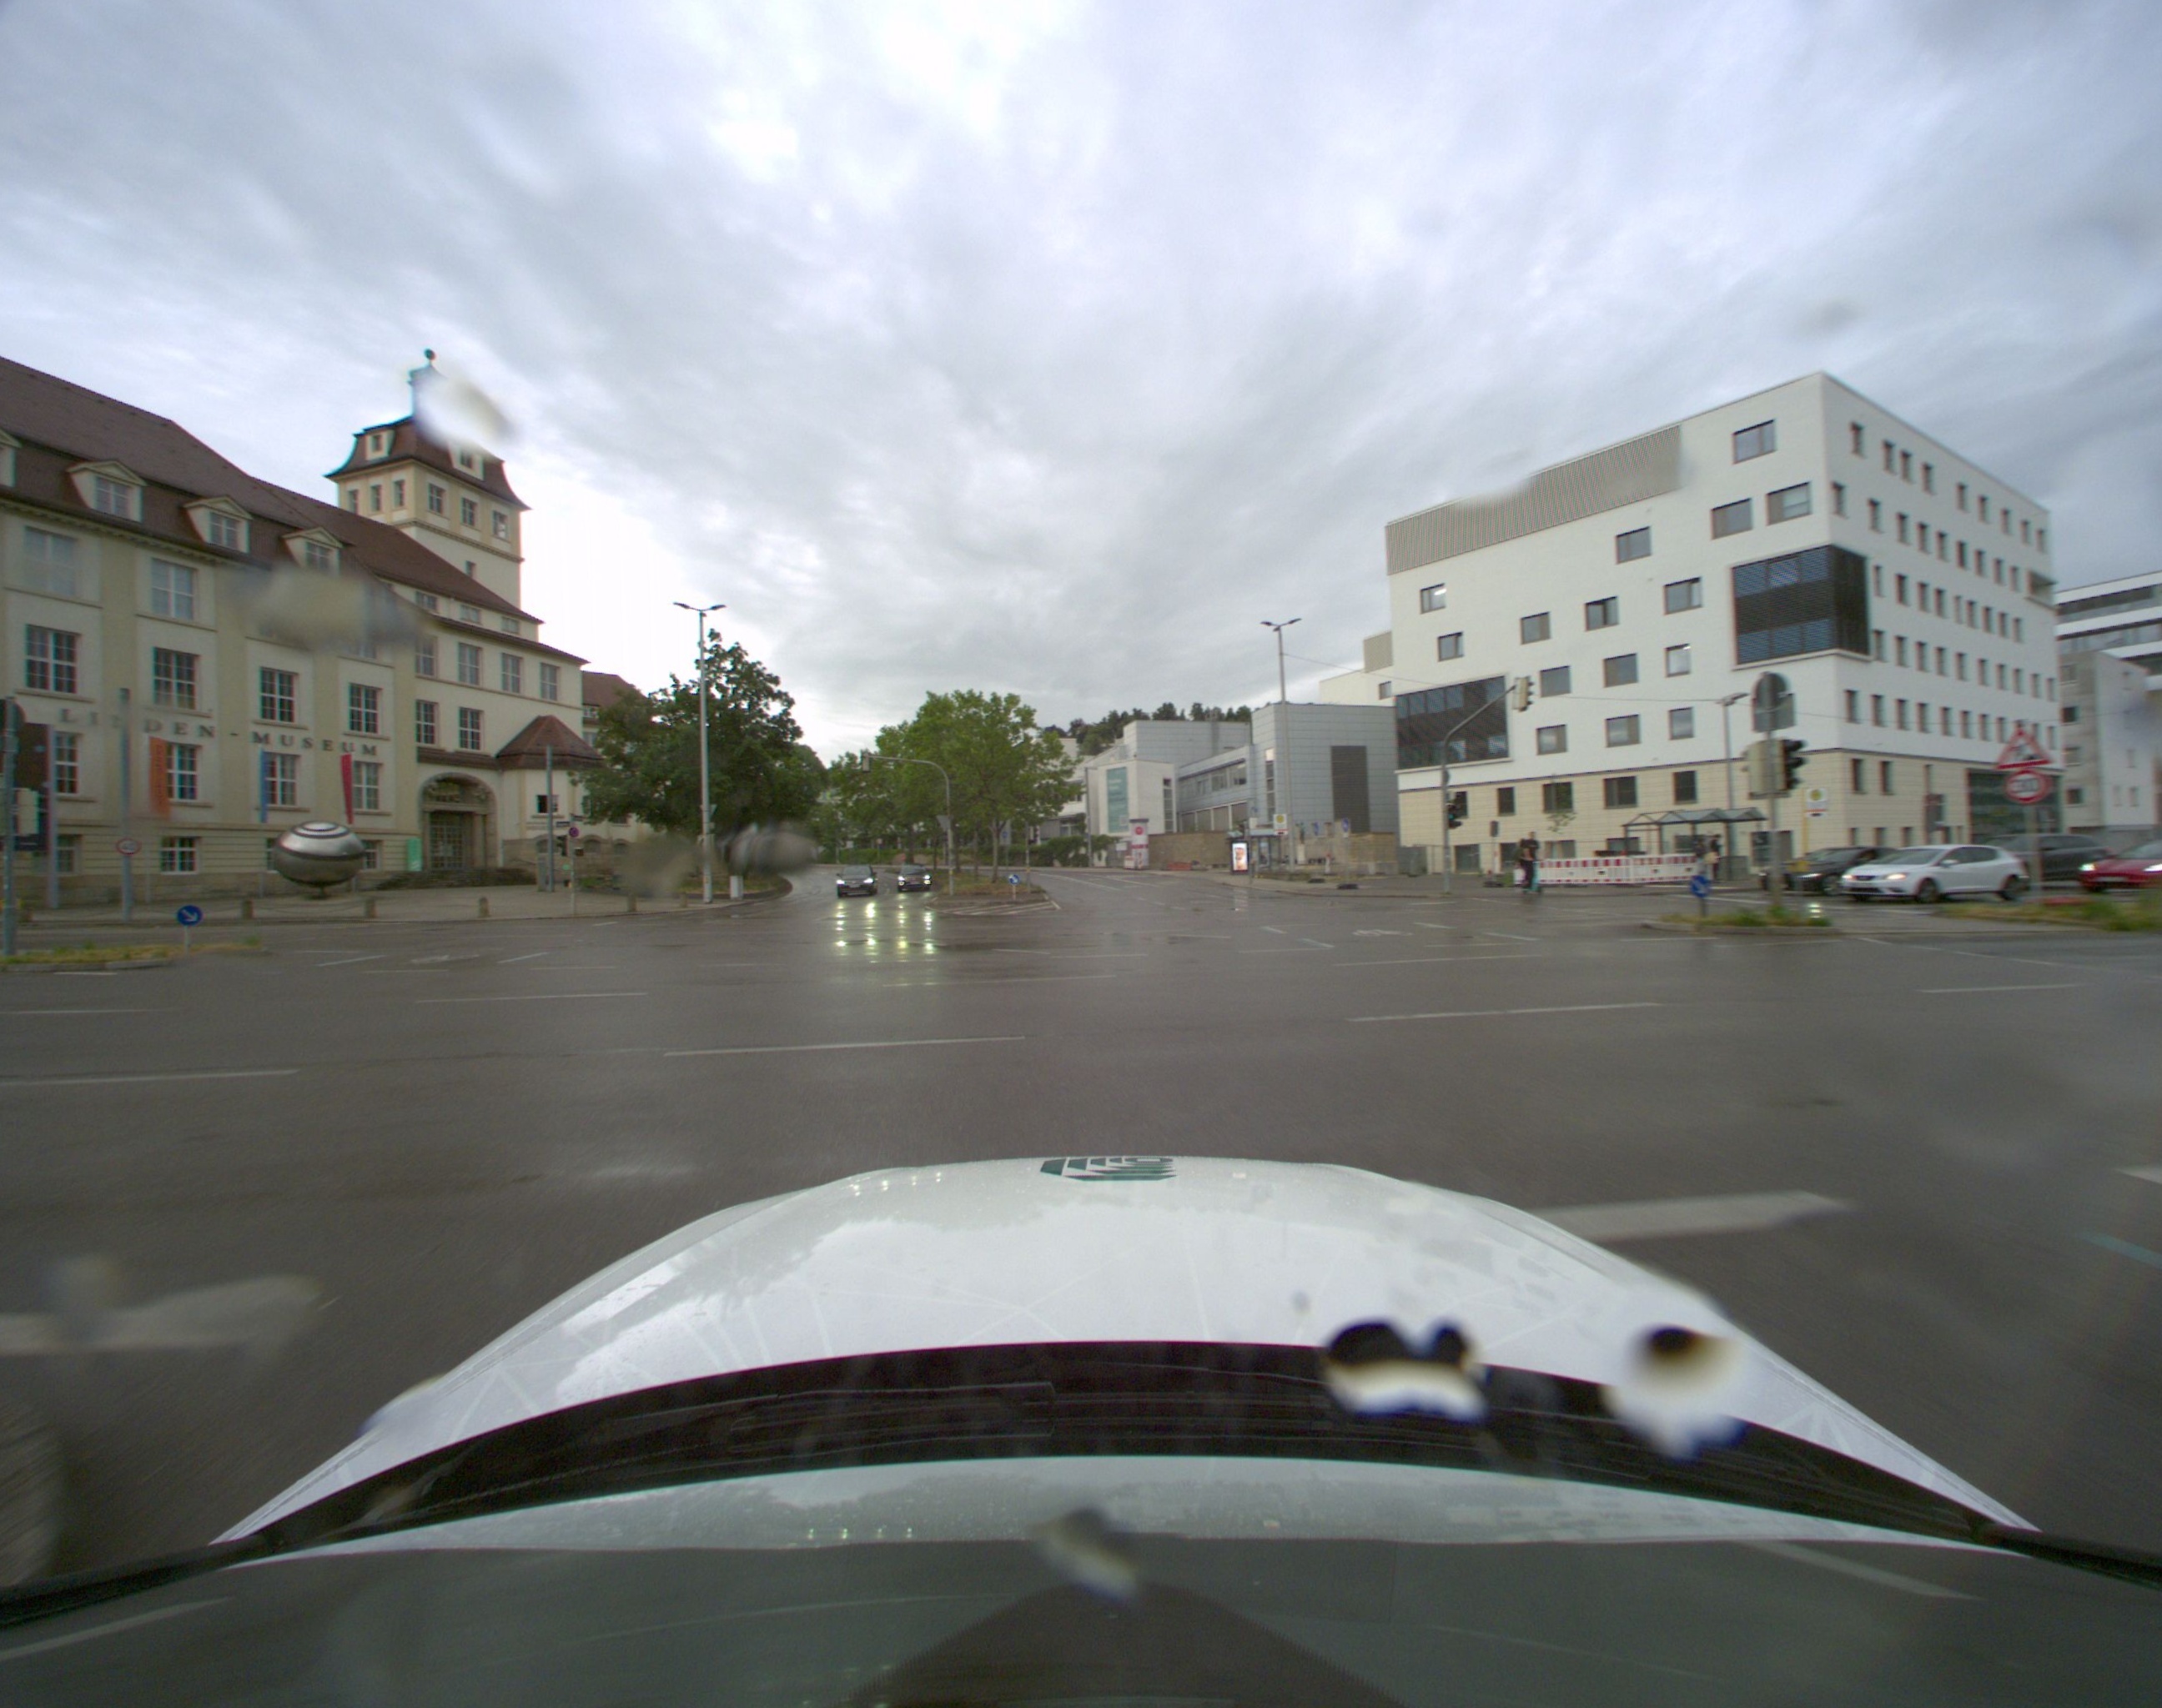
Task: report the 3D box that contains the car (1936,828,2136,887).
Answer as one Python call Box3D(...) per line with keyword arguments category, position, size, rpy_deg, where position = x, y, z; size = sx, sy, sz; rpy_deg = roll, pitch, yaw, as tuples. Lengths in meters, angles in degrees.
Box3D(category="car", position=(29.515, 0.102, 25.240), size=(4.370, 1.664, 1.994), rpy_deg=(-1, 0, -8))

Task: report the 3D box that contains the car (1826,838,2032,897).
Box3D(category="car", position=(21.937, 0.348, 21.134), size=(3.986, 1.444, 1.792), rpy_deg=(0, -1, -10))

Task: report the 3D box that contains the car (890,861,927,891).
Box3D(category="car", position=(-10.000, 1.240, 46.935), size=(1.793, 1.585, 3.978), rpy_deg=(-2, 0, -16))

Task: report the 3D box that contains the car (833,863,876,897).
Box3D(category="car", position=(-11.937, 1.331, 43.138), size=(1.869, 1.564, 4.259), rpy_deg=(-2, 1, -12))

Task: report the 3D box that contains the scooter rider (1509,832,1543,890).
Box3D(category="scooter rider", position=(14.820, 0.244, 27.118), size=(0.724, 1.883, 0.628), rpy_deg=(0, -2, -15))

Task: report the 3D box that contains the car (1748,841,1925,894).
Box3D(category="car", position=(22.405, 0.390, 24.207), size=(3.986, 1.444, 1.792), rpy_deg=(-1, 0, -10))

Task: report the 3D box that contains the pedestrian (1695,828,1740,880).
Box3D(category="pedestrian", position=(23.776, 0.015, 30.456), size=(0.994, 1.935, 0.958), rpy_deg=(-1, -2, 15))

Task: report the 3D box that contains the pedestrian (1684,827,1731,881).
Box3D(category="pedestrian", position=(21.957, 0.012, 28.550), size=(0.950, 1.840, 0.822), rpy_deg=(0, -2, -6))

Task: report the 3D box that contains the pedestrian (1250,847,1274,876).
Box3D(category="pedestrian", position=(10.866, 0.444, 48.981), size=(1.252, 1.719, 1.017), rpy_deg=(0, -2, 4))

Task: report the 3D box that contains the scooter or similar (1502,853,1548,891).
Box3D(category="scooter or similar", position=(14.799, 0.615, 27.152), size=(0.592, 1.239, 1.306), rpy_deg=(0, -2, -16))

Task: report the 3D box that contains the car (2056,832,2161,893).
Box3D(category="car", position=(29.608, 0.177, 22.176), size=(4.515, 1.557, 1.960), rpy_deg=(-1, 0, -11))
